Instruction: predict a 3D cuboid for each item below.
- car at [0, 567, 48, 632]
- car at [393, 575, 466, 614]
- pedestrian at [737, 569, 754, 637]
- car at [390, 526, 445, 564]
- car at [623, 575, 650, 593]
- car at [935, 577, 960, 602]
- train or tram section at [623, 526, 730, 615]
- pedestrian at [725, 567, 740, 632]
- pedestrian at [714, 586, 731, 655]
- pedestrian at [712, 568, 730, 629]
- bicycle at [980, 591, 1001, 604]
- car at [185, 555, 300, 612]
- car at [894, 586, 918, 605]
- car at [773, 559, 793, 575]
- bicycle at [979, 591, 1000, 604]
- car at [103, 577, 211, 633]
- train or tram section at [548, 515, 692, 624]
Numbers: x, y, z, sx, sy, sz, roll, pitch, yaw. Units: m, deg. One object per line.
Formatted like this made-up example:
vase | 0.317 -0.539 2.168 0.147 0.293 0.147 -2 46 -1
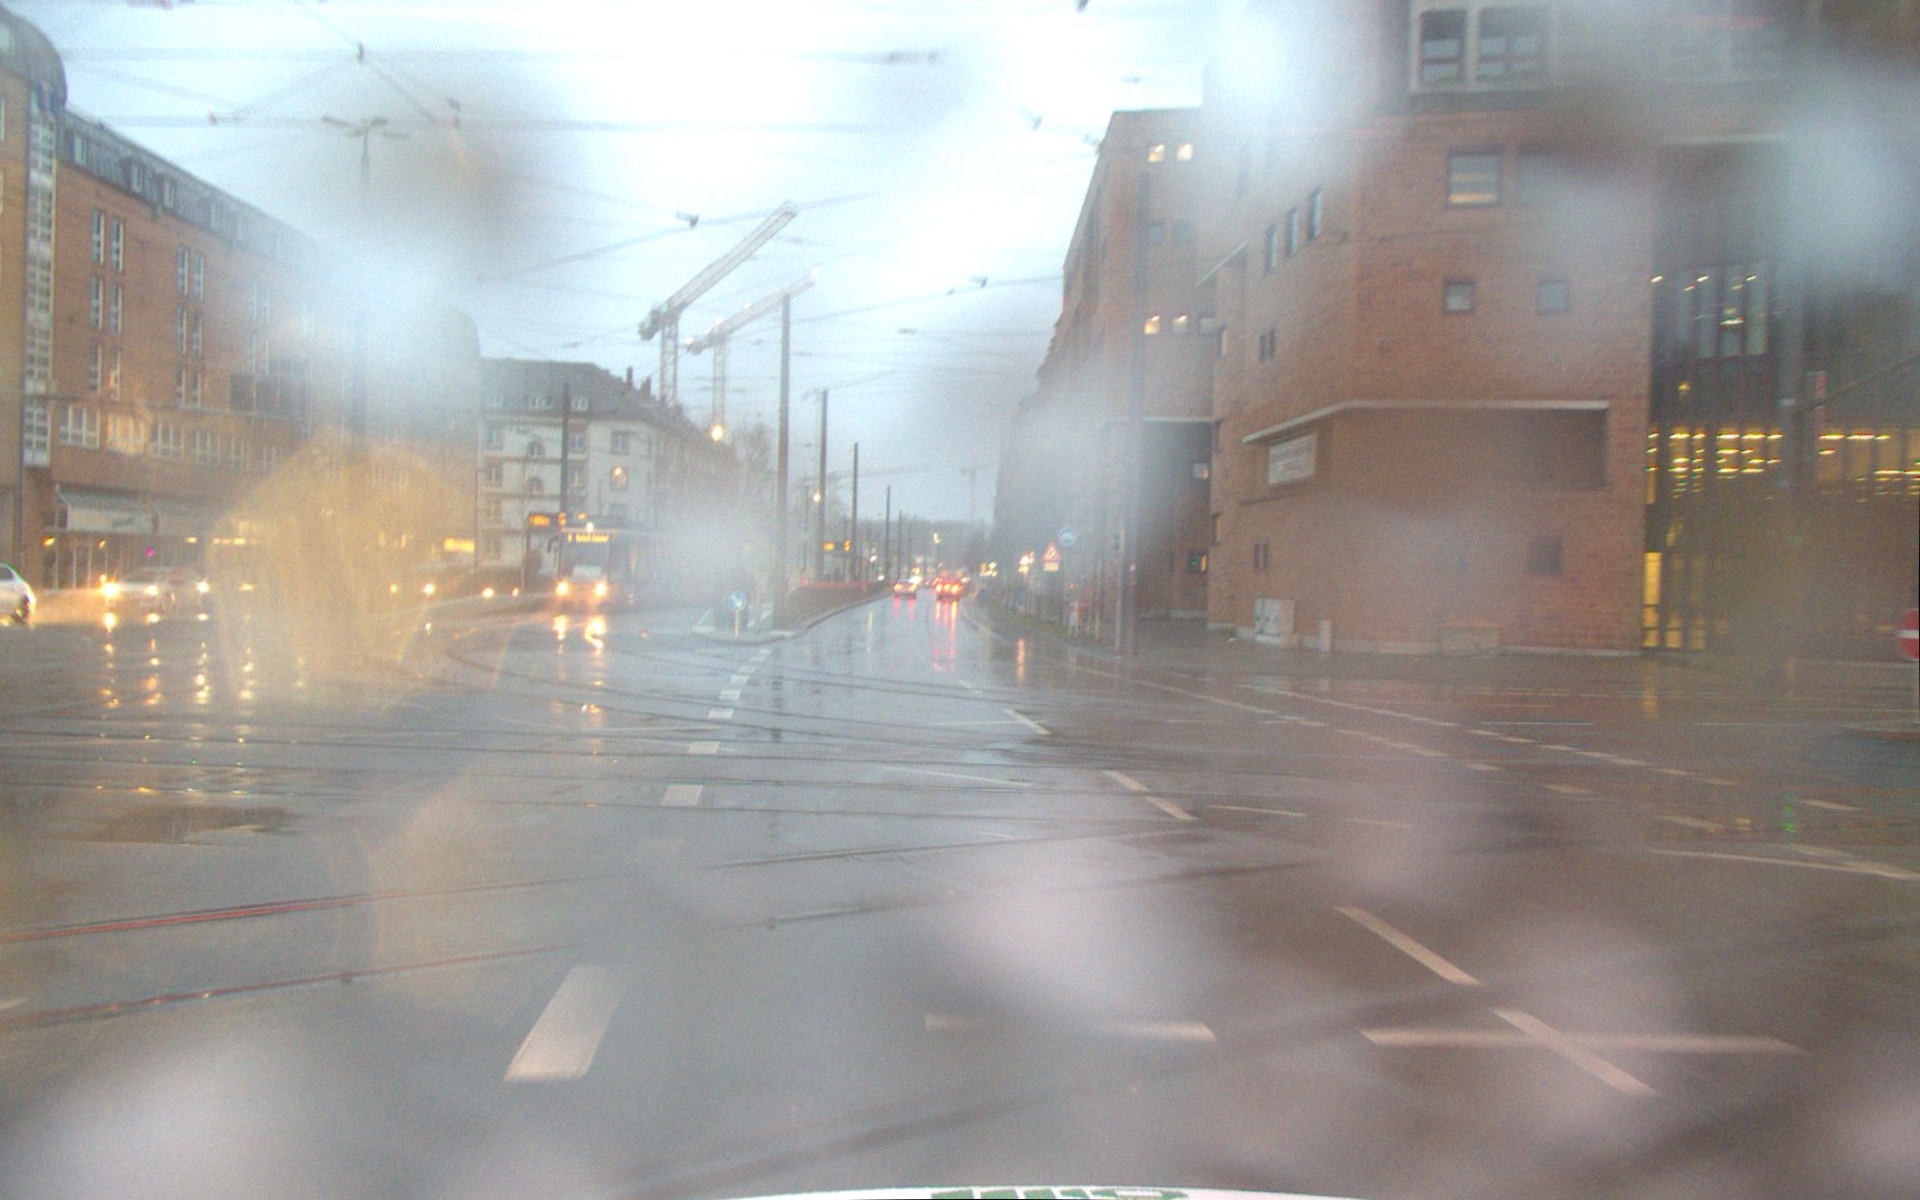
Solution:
car | -23.414 -0.033 38.796 1.634 1.521 4.201 1 0 1
car | -20.061 -0.221 62.657 1.648 1.377 3.545 3 0 -1
pedestrian | -6.064 0.082 46.850 0.404 1.877 0.669 2 0 -5
car | -32.571 -3.289 99.391 1.953 2.048 4.000 3 0 -1
car | -27.500 -1.352 140.792 1.648 1.377 3.545 3 0 -1
car | -1.030 -0.913 139.348 1.952 2.049 4.001 1 1 1
train or tram section | -12.822 -1.299 75.828 2.865 3.640 11.035 3 0 0
pedestrian | -6.378 -0.009 46.428 0.352 1.818 0.439 2 0 -6
pedestrian | -7.008 0.598 48.762 0.425 2.001 0.473 2 0 -6
pedestrian | -6.967 -0.039 48.183 0.425 1.765 0.473 2 0 -6
bicycle | 2.426 -0.183 132.322 1.695 1.073 0.371 0 0 -2
car | -23.608 -0.537 54.615 1.792 1.739 4.705 2 0 -1
car | -4.466 -0.380 136.661 1.747 1.492 3.149 1 1 1
car | -17.101 -3.165 160.010 1.648 1.377 3.545 3 0 -1
bicycle | 2.363 -0.188 132.804 1.695 1.073 0.371 0 0 -2
car | -26.396 0.144 54.498 1.649 1.739 3.855 2 0 -1
train or tram section | -12.868 -1.133 63.965 2.890 3.651 12.255 3 0 0
